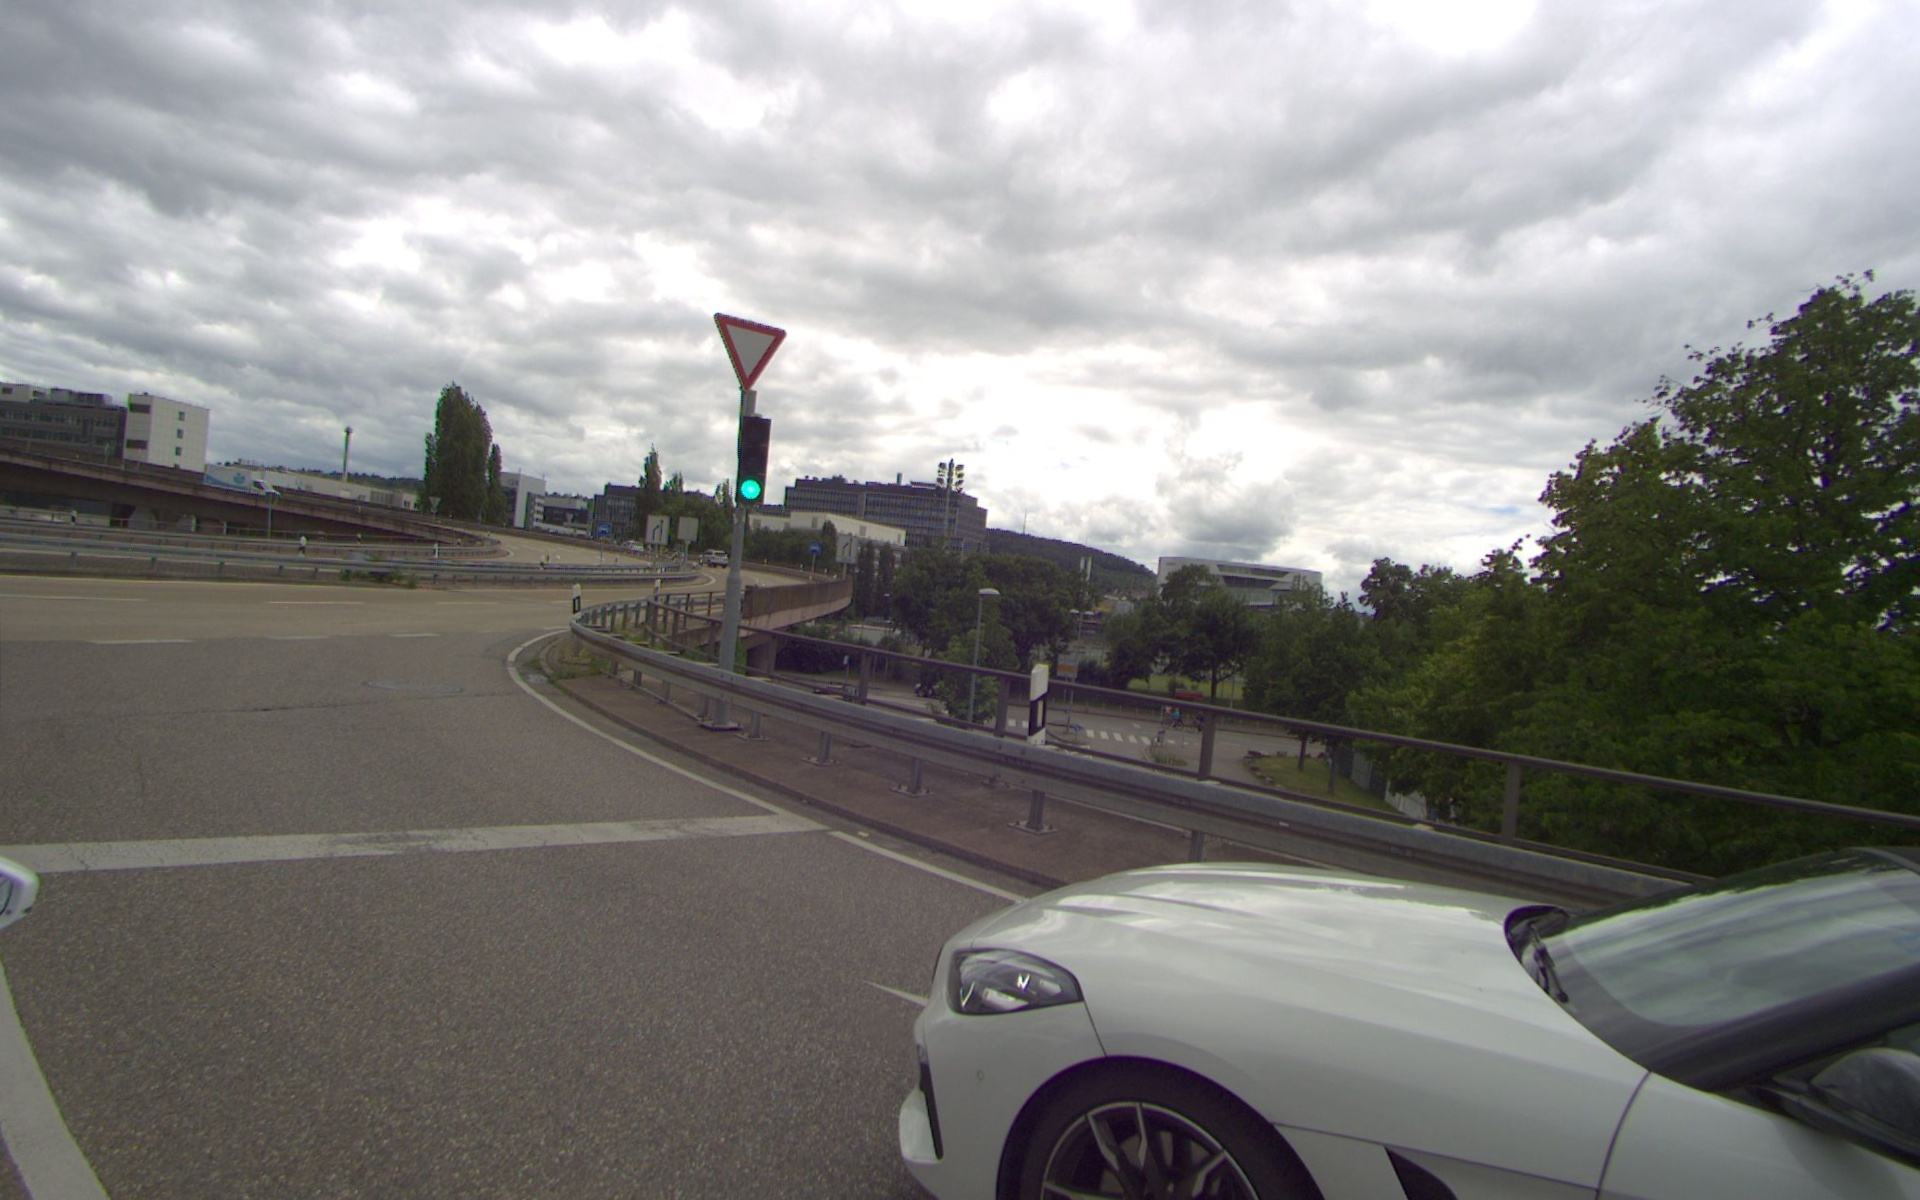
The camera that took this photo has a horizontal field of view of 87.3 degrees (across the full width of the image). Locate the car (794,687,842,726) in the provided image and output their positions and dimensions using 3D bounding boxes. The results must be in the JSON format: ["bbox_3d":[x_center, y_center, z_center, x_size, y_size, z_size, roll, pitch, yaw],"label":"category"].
[{"bbox_3d":[-7.931,5.955,56.436,1.793,1.553,4.000,7,0,2],"label":"car"}]

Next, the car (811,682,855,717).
[{"bbox_3d":[-7.731,6.056,61.576,1.793,1.553,4.195,7,0,2],"label":"car"}]

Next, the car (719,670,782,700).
[{"bbox_3d":[-14.004,5.673,67.451,3.793,1.371,1.826,8,0,-3],"label":"car"}]

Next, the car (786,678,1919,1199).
[{"bbox_3d":[1.896,1.127,2.171,4.191,1.306,1.810,6,-2,30],"label":"car"}]

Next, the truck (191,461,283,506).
[{"bbox_3d":[-76.172,-12.257,106.131,7.237,3.307,2.324,8,-2,-15],"label":"truck"}]

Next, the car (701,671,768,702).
[{"bbox_3d":[-14.441,5.560,64.640,3.793,1.371,1.826,8,0,-3],"label":"car"}]

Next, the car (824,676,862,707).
[{"bbox_3d":[-7.796,6.118,67.462,1.793,1.553,4.000,7,0,2],"label":"car"}]

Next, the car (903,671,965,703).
[{"bbox_3d":[-2.216,7.426,85.988,4.768,1.883,2.019,9,-2,14],"label":"car"}]

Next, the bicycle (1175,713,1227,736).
[{"bbox_3d":[19.247,9.973,80.506,3.787,1.189,1.092,10,-6,-6],"label":"bicycle"}]

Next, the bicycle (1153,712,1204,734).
[{"bbox_3d":[17.750,10.027,81.889,3.787,1.189,1.092,10,-6,-6],"label":"bicycle"}]

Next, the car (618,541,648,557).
[{"bbox_3d":[-36.488,-5.706,112.205,1.717,1.417,4.022,7,-1,-39],"label":"car"}]

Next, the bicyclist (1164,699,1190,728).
[{"bbox_3d":[17.664,9.221,81.934,1.540,2.114,1.092,9,-5,-5],"label":"bicyclist"}]

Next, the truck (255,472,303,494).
[{"bbox_3d":[-102.137,-17.542,150.983,1.965,2.188,5.640,6,-2,26],"label":"truck"}]

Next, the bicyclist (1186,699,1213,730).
[{"bbox_3d":[19.171,9.158,80.544,1.554,2.272,1.092,9,-5,-5],"label":"bicyclist"}]

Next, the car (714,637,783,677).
[{"bbox_3d":[-18.757,5.082,89.435,5.290,2.617,2.019,10,-2,8],"label":"car"}]

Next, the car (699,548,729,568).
[{"bbox_3d":[-24.801,-4.238,101.237,1.710,1.758,4.523,7,-1,-28],"label":"car"}]
